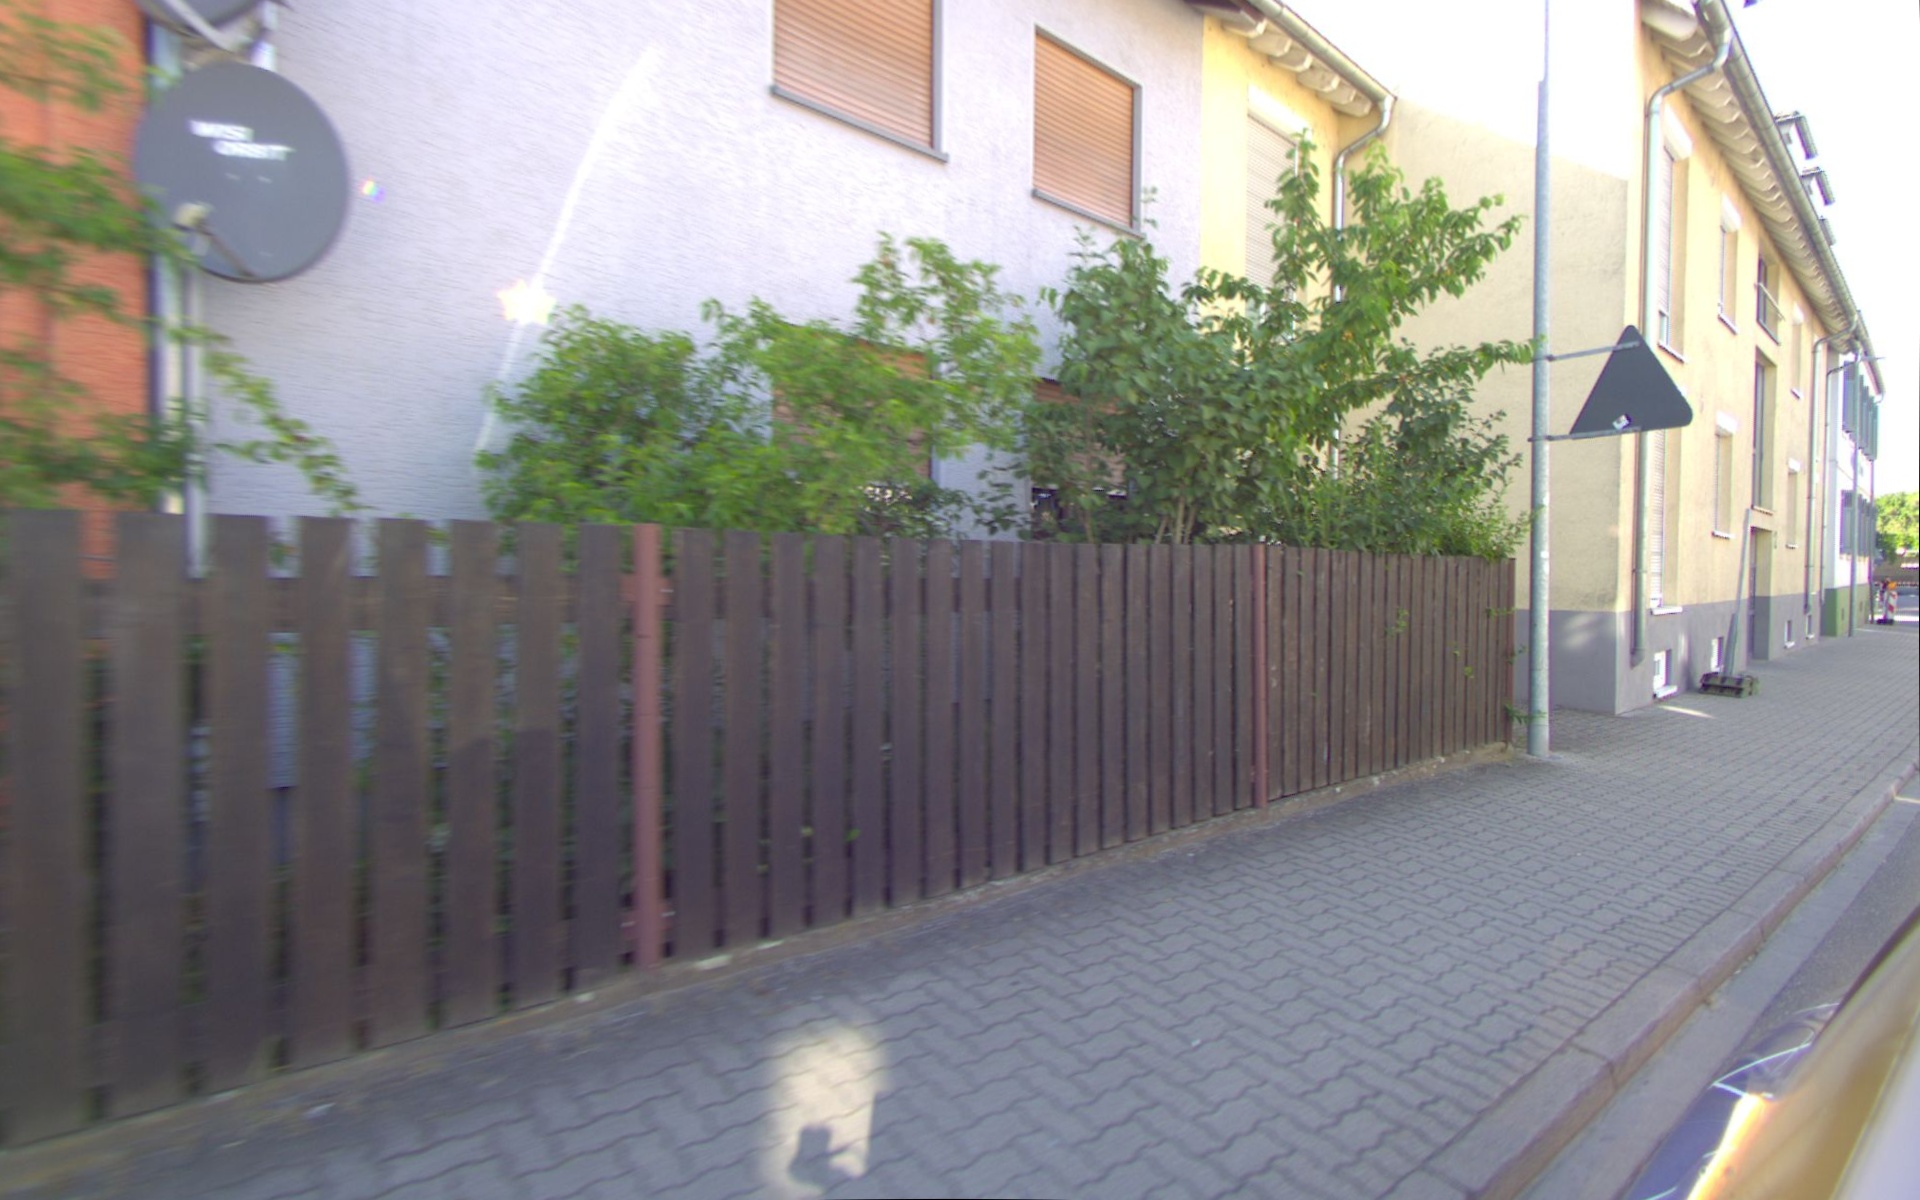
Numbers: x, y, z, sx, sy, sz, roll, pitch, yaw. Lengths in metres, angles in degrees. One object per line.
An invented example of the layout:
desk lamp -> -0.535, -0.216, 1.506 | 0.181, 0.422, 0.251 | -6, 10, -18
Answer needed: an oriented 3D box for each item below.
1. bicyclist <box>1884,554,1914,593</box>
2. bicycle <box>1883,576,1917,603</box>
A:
bicyclist -> 57.767, -1.611, 62.264 | 1.251, 2.337, 1.225 | -2, 0, 40
bicycle -> 57.758, -0.666, 62.223 | 1.252, 1.571, 3.943 | -1, 1, 40
